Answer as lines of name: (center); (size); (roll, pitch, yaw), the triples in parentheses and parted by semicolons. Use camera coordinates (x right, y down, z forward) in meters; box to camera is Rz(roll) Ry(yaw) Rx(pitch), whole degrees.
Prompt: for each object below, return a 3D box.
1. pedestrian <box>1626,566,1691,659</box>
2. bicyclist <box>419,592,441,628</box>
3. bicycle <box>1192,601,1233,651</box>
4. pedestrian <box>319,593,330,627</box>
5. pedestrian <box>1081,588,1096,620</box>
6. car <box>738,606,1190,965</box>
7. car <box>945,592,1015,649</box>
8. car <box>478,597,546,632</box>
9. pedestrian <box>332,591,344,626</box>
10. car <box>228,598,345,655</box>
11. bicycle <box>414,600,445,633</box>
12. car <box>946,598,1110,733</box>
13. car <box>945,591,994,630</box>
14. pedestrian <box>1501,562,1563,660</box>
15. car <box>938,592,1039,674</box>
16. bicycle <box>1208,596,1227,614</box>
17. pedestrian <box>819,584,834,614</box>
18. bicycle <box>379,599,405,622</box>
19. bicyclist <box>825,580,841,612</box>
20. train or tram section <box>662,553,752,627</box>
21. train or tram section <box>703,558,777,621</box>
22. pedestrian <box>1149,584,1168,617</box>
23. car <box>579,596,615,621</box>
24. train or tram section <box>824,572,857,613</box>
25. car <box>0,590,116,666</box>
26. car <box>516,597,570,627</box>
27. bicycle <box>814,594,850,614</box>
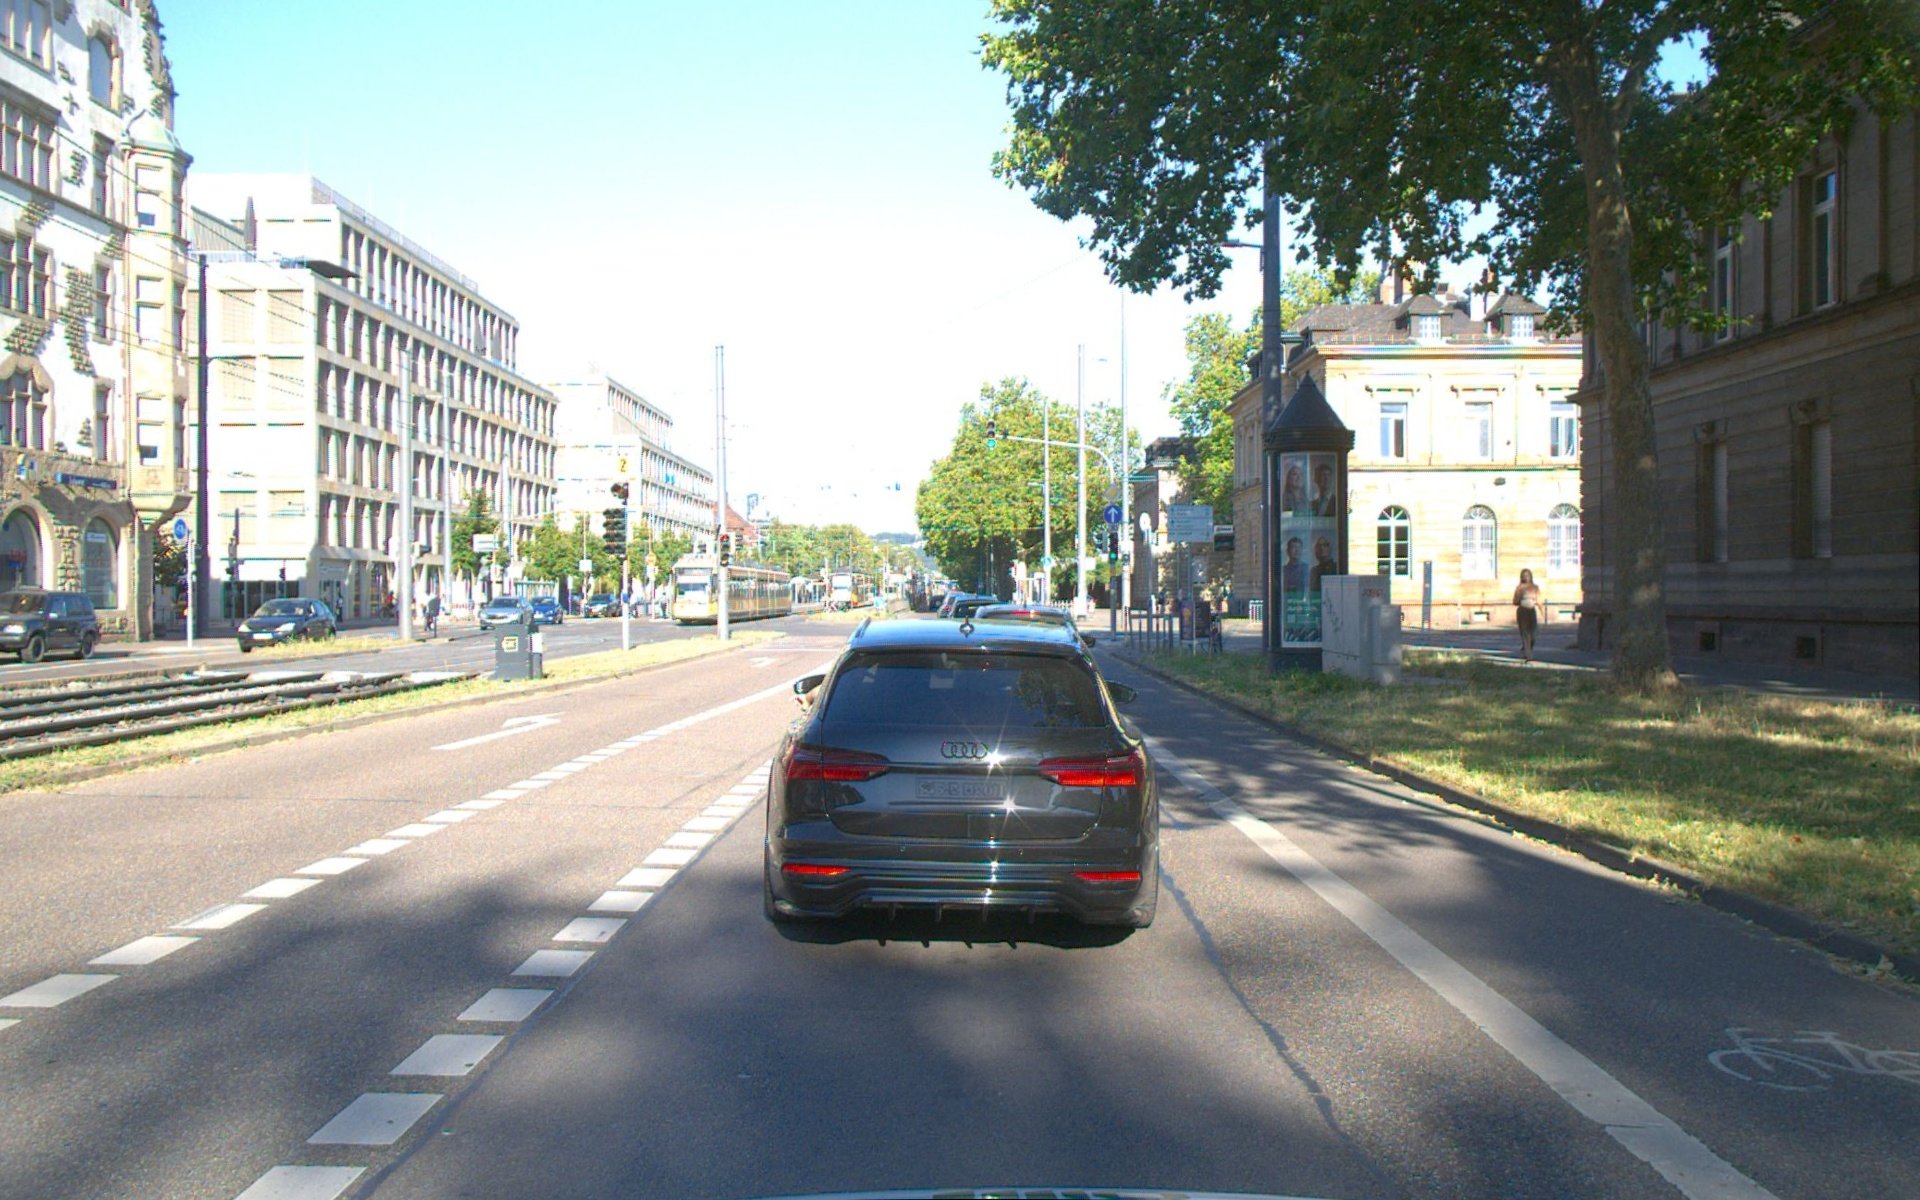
pedestrian: (12.615, 0.214, 29.886); (0.753, 1.634, 0.986); (-1, 0, 1)
bicyclist: (-23.268, 0.435, 72.581); (0.671, 1.590, 0.785); (-1, 0, 1)
bicycle: (5.707, 0.581, 37.405); (0.529, 1.080, 1.770); (-1, 0, -4)
pedestrian: (-34.979, 0.541, 91.045); (0.468, 1.876, 0.437); (-1, 0, -38)
pedestrian: (6.833, 0.213, 87.976); (0.668, 1.689, 0.758); (-1, 0, -2)
car: (0.023, 0.775, 8.914); (1.863, 1.446, 4.144); (0, 0, 0)
car: (0.542, 0.544, 46.002); (1.863, 1.512, 4.144); (0, 0, 0)
car: (-19.865, 0.625, 73.511); (1.783, 1.482, 4.540); (-1, 0, -1)
pedestrian: (-34.348, 0.470, 91.349); (0.527, 1.876, 0.437); (-1, 0, -38)
car: (-19.020, 0.717, 46.900); (1.784, 1.482, 4.163); (-1, 0, -3)
bicycle: (-23.266, 0.705, 72.608); (0.671, 1.406, 1.947); (-1, 0, 1)
car: (0.774, 0.744, 20.833); (1.863, 1.512, 4.144); (0, 0, 0)
car: (0.372, 0.381, 66.030); (1.863, 1.512, 4.144); (0, 0, 0)
pedestrian: (10.417, 0.196, 30.157); (0.753, 1.739, 1.042); (-1, 0, 1)
car: (0.532, 0.605, 32.709); (1.863, 1.512, 4.144); (0, 0, 0)
bicycle: (16.362, 0.309, 105.222); (0.516, 1.065, 2.355); (-1, 0, -8)
pedestrian: (-7.914, -0.065, 97.947); (0.728, 1.772, 0.661); (-1, 0, -16)
bicycle: (-32.456, 0.588, 94.518); (0.563, 1.236, 2.389); (-1, 0, 1)
bicyclist: (-7.385, -0.239, 96.423); (0.745, 1.850, 0.761); (-1, 0, -18)
train or tram section: (-13.201, -0.519, 87.535); (2.755, 3.550, 13.202); (-1, 0, 0)
train or tram section: (-13.274, -0.611, 100.747); (2.755, 3.550, 13.202); (-1, 0, 0)
pedestrian: (11.576, 0.007, 96.442); (0.959, 1.898, 0.827); (-1, 0, 1)
car: (-26.923, 0.620, 122.885); (1.804, 1.844, 4.112); (-1, 0, -1)
train or tram section: (-10.715, -0.690, 149.031); (2.556, 3.511, 11.128); (-1, 0, -2)
car: (-22.403, 0.631, 40.178); (1.682, 1.704, 4.215); (2, 0, -2)
car: (-21.689, 0.596, 86.136); (1.783, 1.482, 4.156); (-1, 0, -1)
bicycle: (-7.459, 0.216, 96.390); (1.974, 1.127, 0.761); (-1, 0, -18)
